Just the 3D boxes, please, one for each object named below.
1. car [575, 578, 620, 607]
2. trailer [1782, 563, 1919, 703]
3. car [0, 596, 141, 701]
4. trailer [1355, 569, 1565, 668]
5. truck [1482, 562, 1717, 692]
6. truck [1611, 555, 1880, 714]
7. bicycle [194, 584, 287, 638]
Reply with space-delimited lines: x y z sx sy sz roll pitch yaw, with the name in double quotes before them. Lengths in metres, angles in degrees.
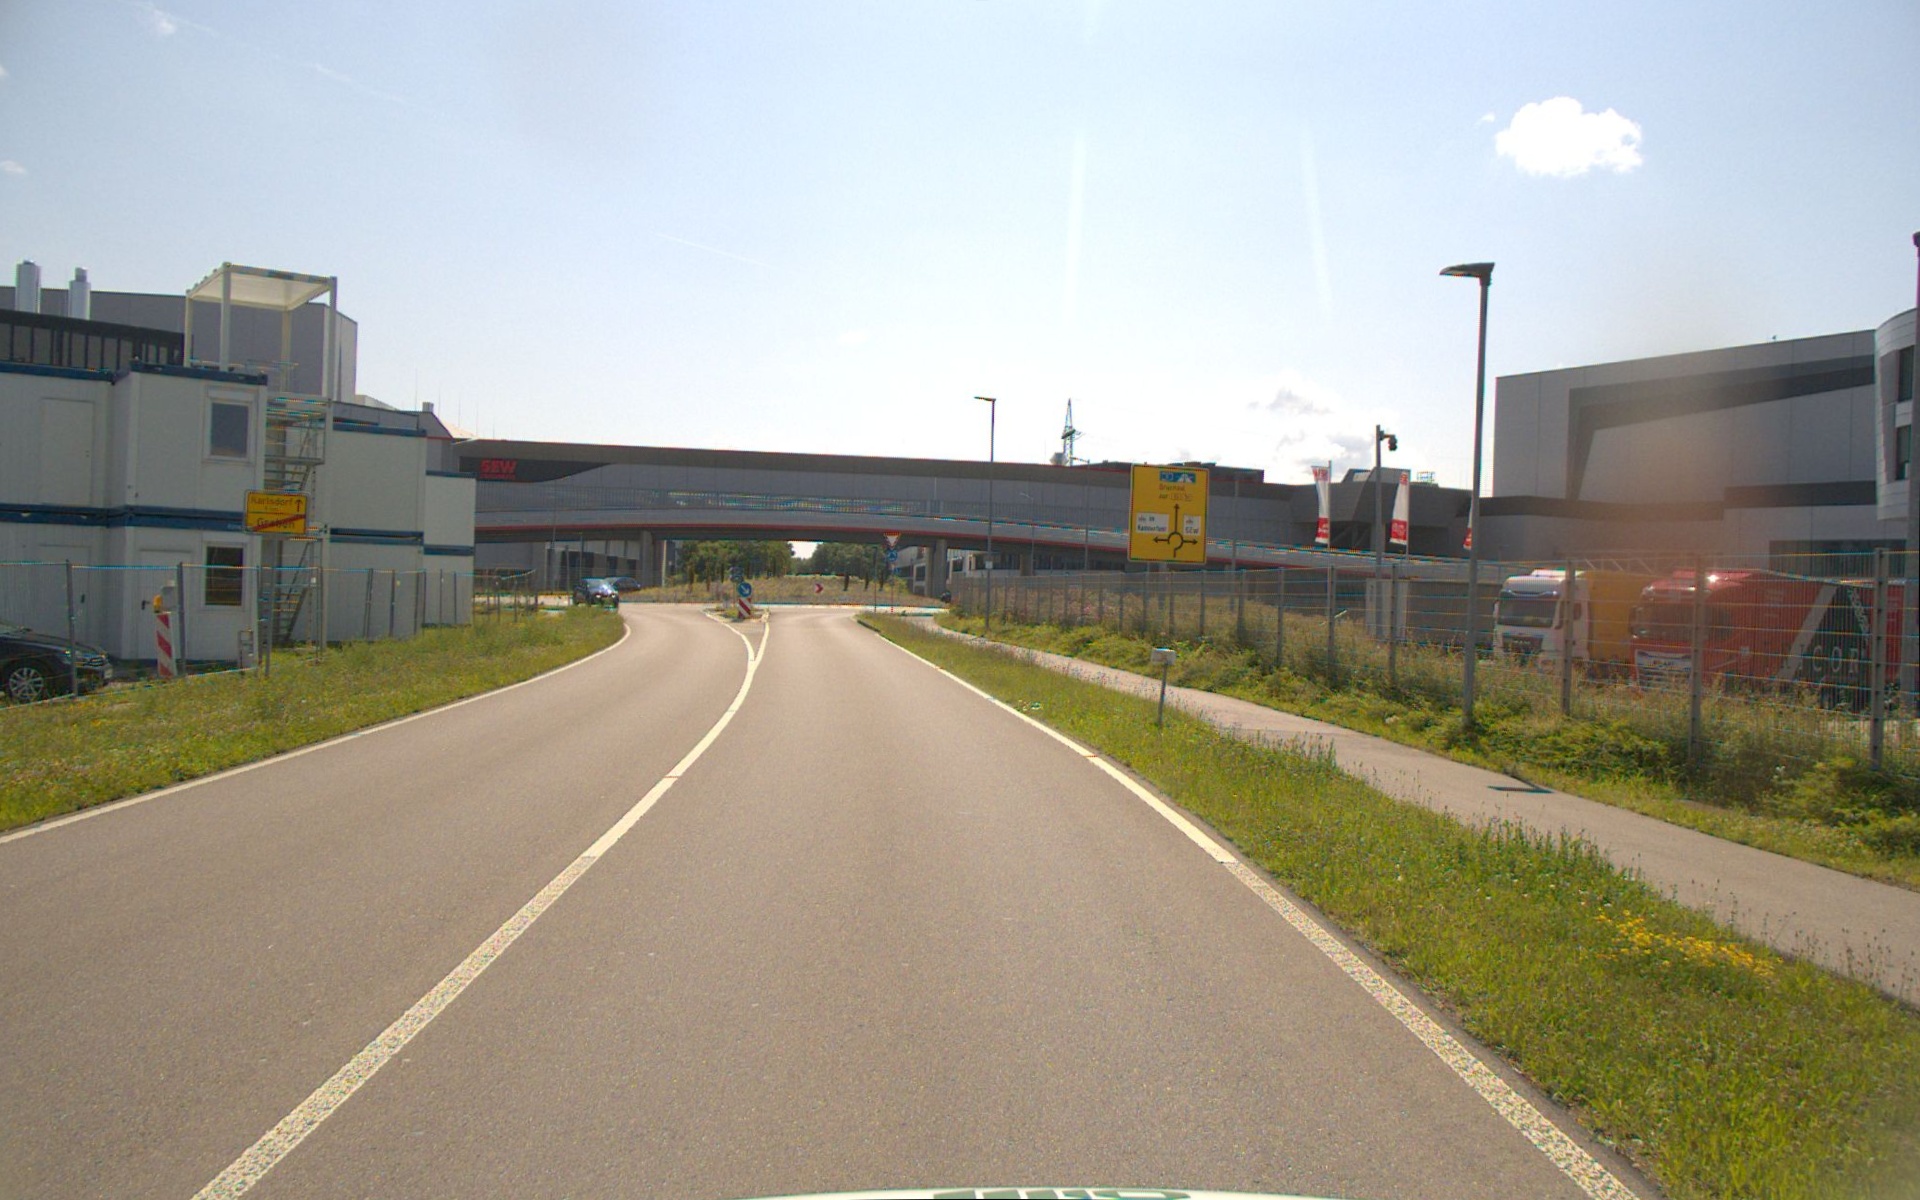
"car" -19.305 -0.380 88.097 1.679 1.508 3.973 1 0 -22
"trailer" 31.200 1.065 55.700 8.629 4.371 2.987 1 0 -39
"car" -15.014 0.664 24.408 4.887 1.441 1.992 1 1 -16
"trailer" 24.789 0.878 81.212 13.929 4.515 2.726 1 0 -40
"truck" 22.839 0.929 58.626 10.864 4.245 2.783 1 0 -39
"truck" 23.705 0.968 49.519 10.868 4.331 2.986 1 0 -40
"bicycle" -17.824 0.270 40.992 2.024 1.324 0.601 1 0 -36
